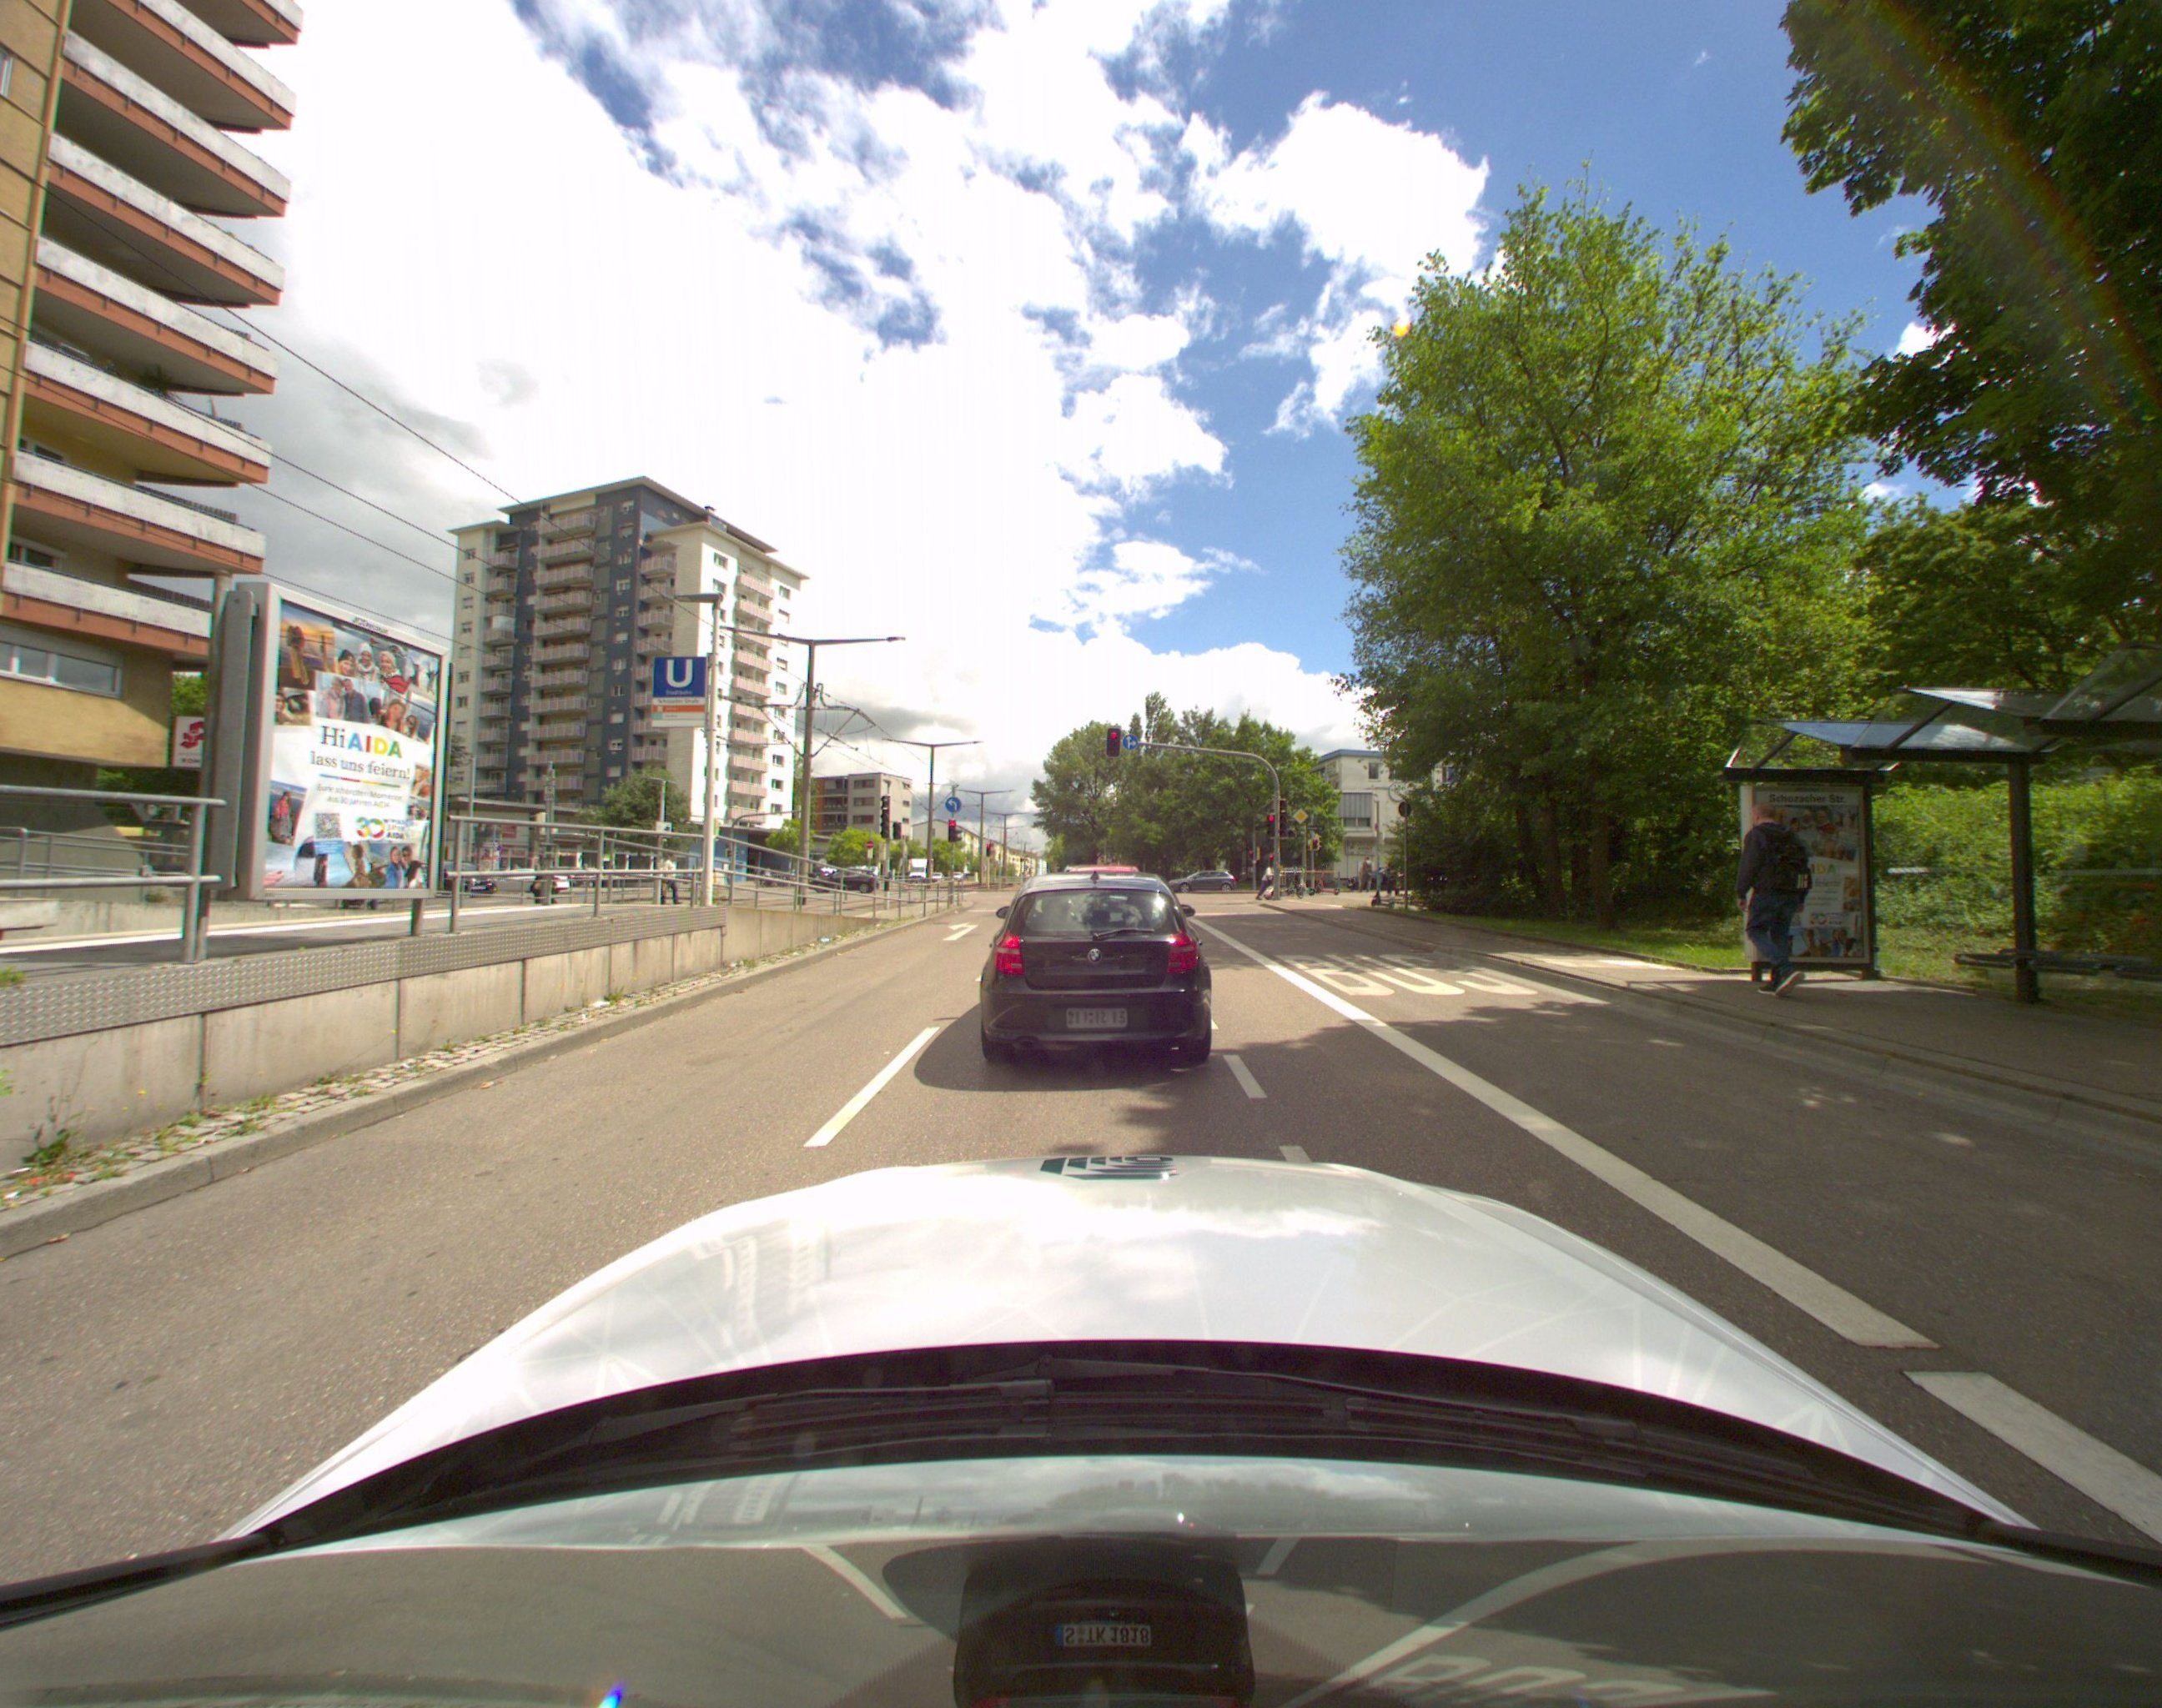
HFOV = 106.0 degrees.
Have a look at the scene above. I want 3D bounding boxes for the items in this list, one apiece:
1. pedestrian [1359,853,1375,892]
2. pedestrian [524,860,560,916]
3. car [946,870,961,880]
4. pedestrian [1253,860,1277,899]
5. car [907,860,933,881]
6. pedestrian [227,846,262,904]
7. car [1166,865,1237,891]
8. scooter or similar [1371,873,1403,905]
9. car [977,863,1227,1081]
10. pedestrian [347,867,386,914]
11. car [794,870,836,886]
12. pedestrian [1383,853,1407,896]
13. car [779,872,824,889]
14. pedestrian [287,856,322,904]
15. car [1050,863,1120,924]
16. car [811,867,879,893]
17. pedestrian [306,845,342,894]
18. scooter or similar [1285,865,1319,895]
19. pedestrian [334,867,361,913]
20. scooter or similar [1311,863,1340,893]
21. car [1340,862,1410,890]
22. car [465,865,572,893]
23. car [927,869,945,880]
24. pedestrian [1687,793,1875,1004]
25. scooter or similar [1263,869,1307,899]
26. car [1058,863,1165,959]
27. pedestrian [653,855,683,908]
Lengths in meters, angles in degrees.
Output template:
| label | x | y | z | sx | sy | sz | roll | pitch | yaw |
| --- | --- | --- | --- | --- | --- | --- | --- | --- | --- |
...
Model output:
| label | x | y | z | sx | sy | sz | roll | pitch | yaw |
| --- | --- | --- | --- | --- | --- | --- | --- | --- | --- |
| pedestrian | 13.279 | 0.852 | 37.855 | 0.608 | 1.790 | 0.571 | 3 | -1 | 20 |
| pedestrian | -15.950 | 0.992 | 24.133 | 0.702 | 1.633 | 0.634 | -1 | -1 | -16 |
| car | -21.632 | 3.498 | 138.513 | 1.960 | 1.596 | 3.999 | 0 | -1 | 0 |
| pedestrian | 6.984 | 0.952 | 30.903 | 0.859 | 1.442 | 0.801 | -1 | -1 | 12 |
| car | -20.683 | 2.121 | 104.741 | 2.132 | 2.640 | 5.358 | 0 | -1 | 0 |
| pedestrian | -25.305 | 0.626 | 24.631 | 0.816 | 1.706 | 0.686 | -1 | -1 | 42 |
| car | 7.328 | 1.453 | 49.767 | 3.983 | 1.526 | 1.671 | 0 | -1 | -7 |
| scooter or similar | 10.819 | 1.243 | 28.787 | 1.153 | 1.099 | 0.329 | 0 | -1 | -22 |
| car | 0.246 | 0.804 | 7.151 | 1.647 | 1.419 | 3.520 | -1 | 0 | 4 |
| pedestrian | -21.205 | 1.065 | 24.175 | 0.691 | 1.343 | 0.852 | 0 | -1 | -29 |
| car | -25.745 | 2.347 | 78.967 | 3.600 | 1.462 | 1.613 | -1 | -1 | -7 |
| pedestrian | 13.322 | 0.865 | 34.549 | 0.752 | 1.790 | 0.572 | 3 | -1 | 37 |
| car | -25.547 | 2.445 | 74.570 | 3.600 | 1.462 | 1.613 | -1 | -1 | -7 |
| pedestrian | -26.151 | 0.855 | 27.428 | 0.602 | 1.583 | 0.779 | -1 | -1 | 39 |
| car | 0.110 | 0.958 | 21.046 | 1.649 | 1.419 | 3.516 | 0 | 0 | 0 |
| car | -13.774 | 1.520 | 47.677 | 3.600 | 1.462 | 1.613 | -1 | -1 | -7 |
| pedestrian | -24.925 | 0.508 | 26.841 | 0.625 | 1.578 | 0.853 | 0 | -1 | -26 |
| scooter or similar | 9.003 | 1.044 | 33.167 | 1.290 | 1.189 | 0.383 | -1 | -1 | -14 |
| pedestrian | -22.153 | 1.073 | 24.594 | 0.660 | 1.343 | 0.558 | -1 | -1 | 44 |
| scooter or similar | 10.206 | 0.994 | 34.011 | 1.107 | 1.258 | 0.331 | -1 | -1 | -10 |
| car | 17.385 | 1.288 | 48.233 | 3.578 | 1.601 | 1.705 | 0 | -1 | -11 |
| car | -31.921 | 1.385 | 46.329 | 4.630 | 1.480 | 1.997 | -1 | -1 | -5 |
| car | -20.956 | 2.983 | 117.841 | 1.960 | 1.596 | 3.999 | 0 | -1 | 0 |
| pedestrian | 6.817 | 0.403 | 8.014 | 0.798 | 1.895 | 1.271 | 1 | -1 | 3 |
| scooter or similar | 7.690 | 1.117 | 30.666 | 1.791 | 1.051 | 0.406 | 0 | 0 | -29 |
| car | 0.532 | 0.871 | 13.914 | 1.588 | 1.419 | 3.519 | -1 | 0 | 3 |
| pedestrian | -13.637 | 0.894 | 26.902 | 0.863 | 1.697 | 0.683 | 0 | -1 | -29 |
